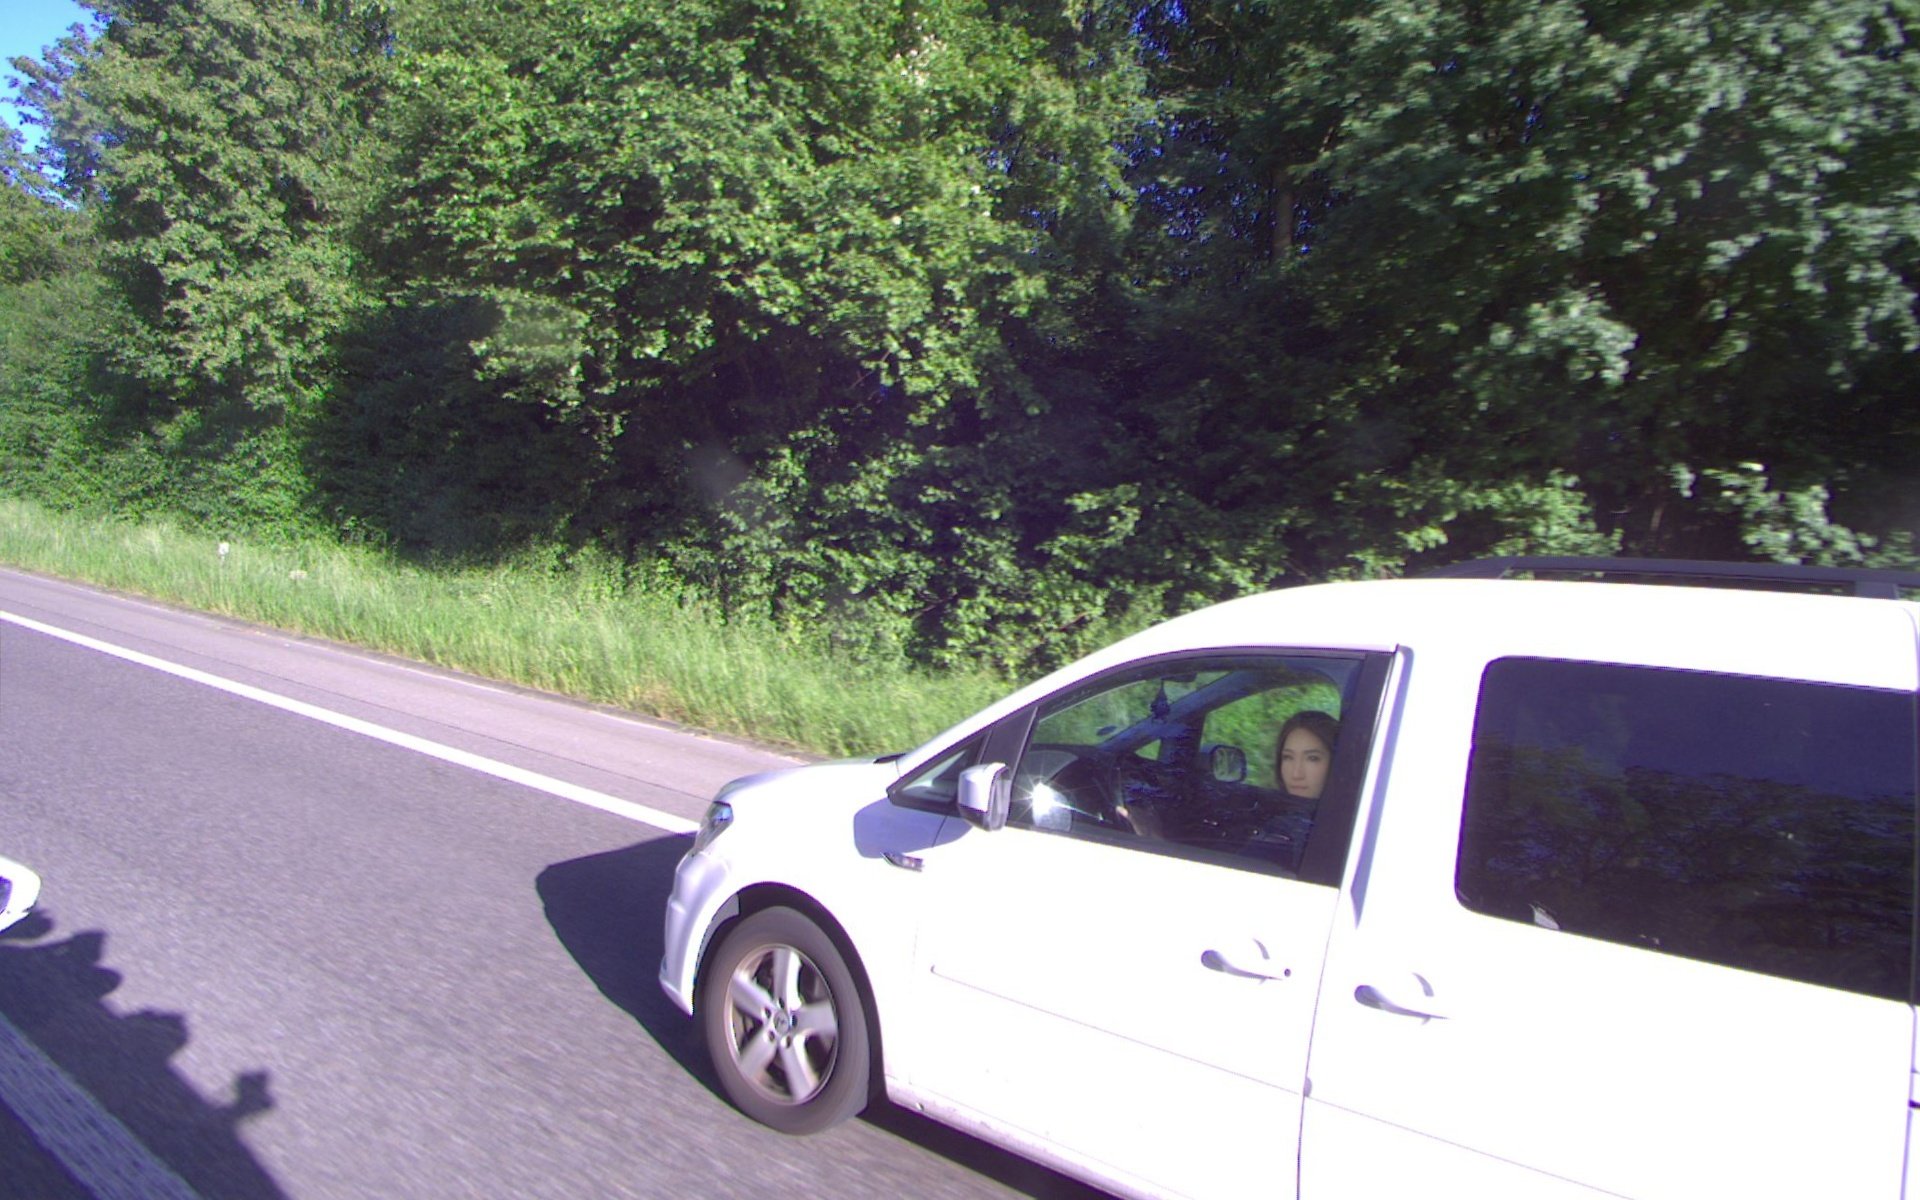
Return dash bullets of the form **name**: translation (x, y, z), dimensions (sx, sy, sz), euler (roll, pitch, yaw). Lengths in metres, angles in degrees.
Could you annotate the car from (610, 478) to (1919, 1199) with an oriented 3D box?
- **car**: translation (1.385, 0.818, 2.769), dimensions (4.511, 1.834, 1.803), euler (6, -2, 31)
